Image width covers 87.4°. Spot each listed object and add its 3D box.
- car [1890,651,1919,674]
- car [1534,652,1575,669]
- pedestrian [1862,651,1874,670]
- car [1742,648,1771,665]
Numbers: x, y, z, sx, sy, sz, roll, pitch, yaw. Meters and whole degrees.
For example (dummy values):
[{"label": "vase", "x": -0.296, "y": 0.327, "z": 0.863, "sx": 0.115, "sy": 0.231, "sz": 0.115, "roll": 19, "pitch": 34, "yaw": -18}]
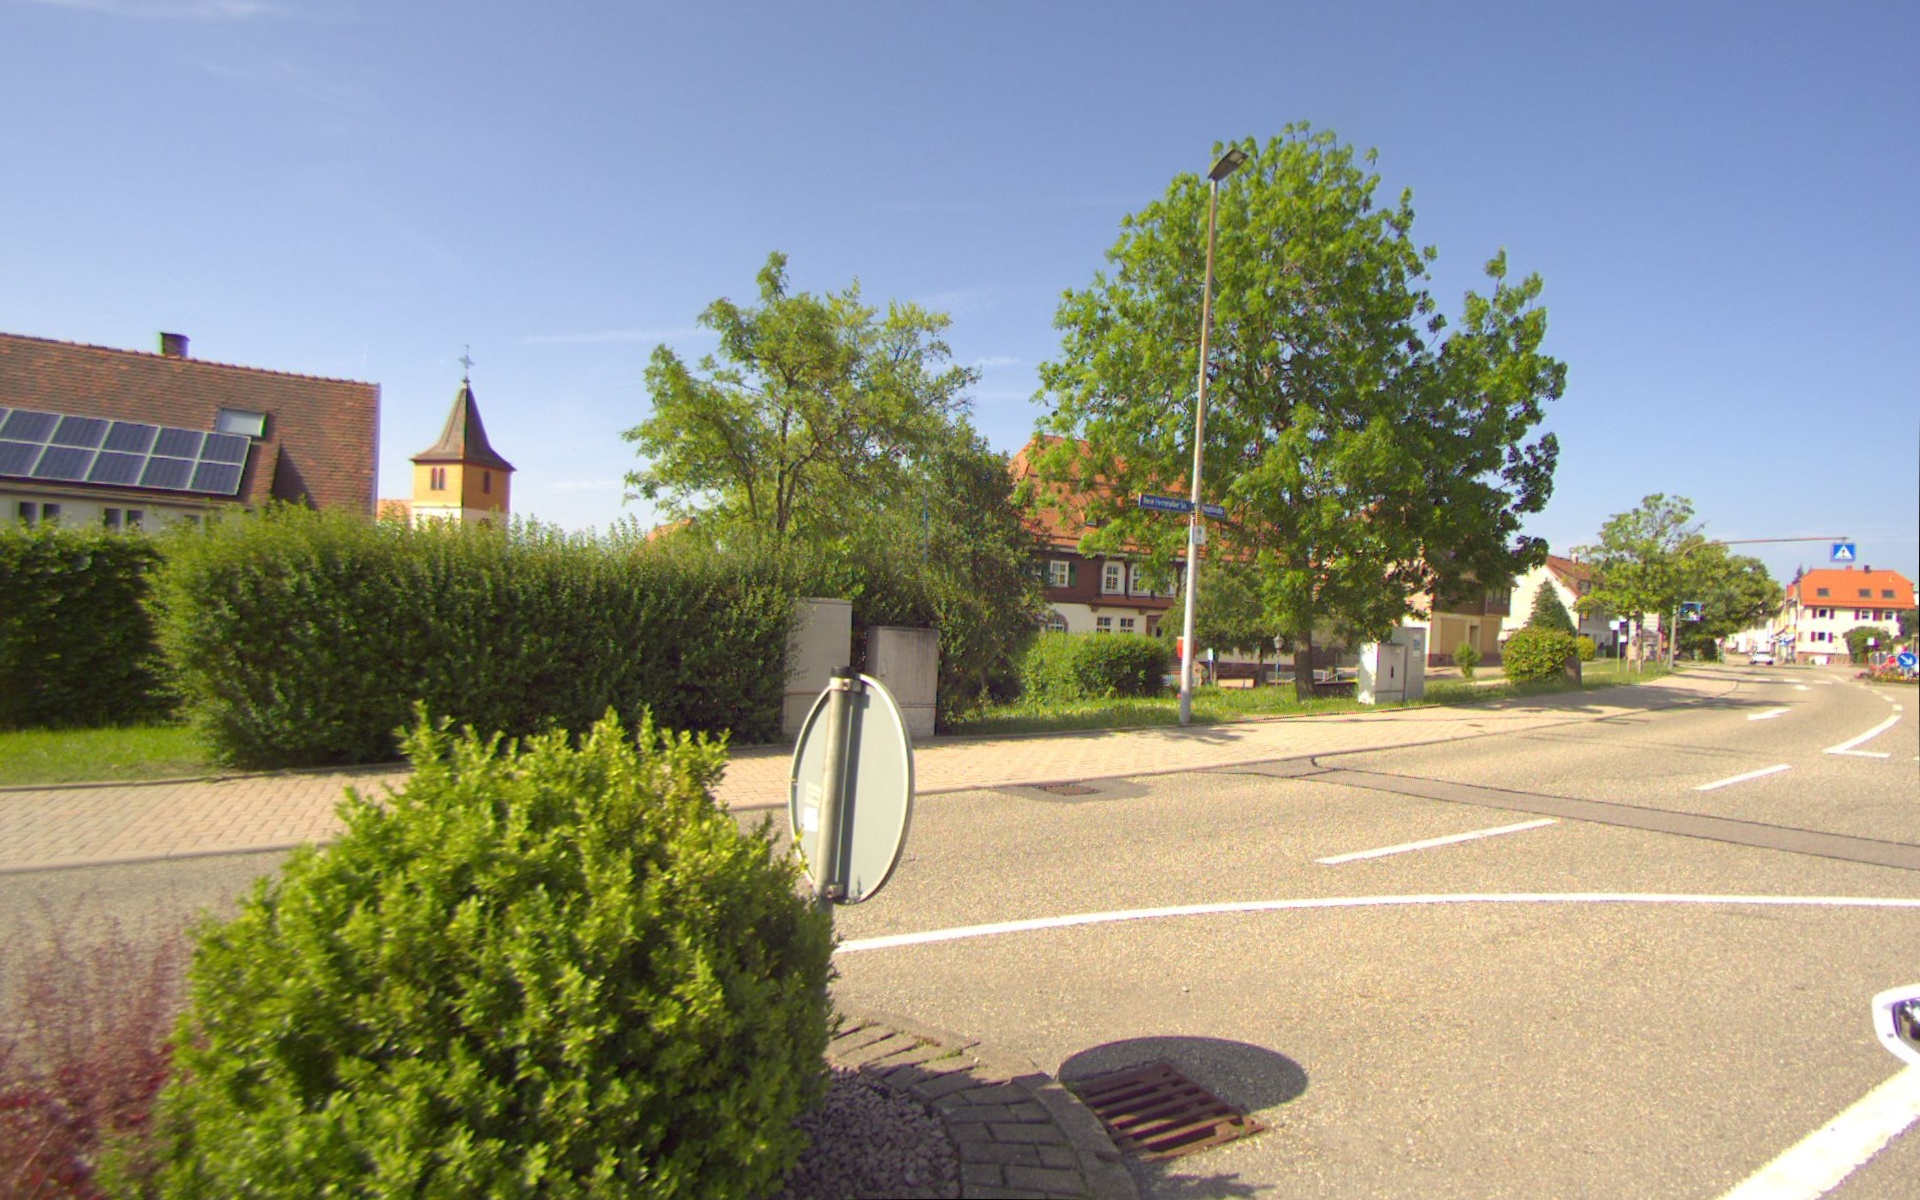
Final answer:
[{"label": "car", "x": 60.818, "y": 3.946, "z": 63.917, "sx": 1.612, "sy": 1.438, "sz": 3.927, "roll": -1, "pitch": -3, "yaw": 31}, {"label": "car", "x": 47.617, "y": 4.836, "z": 80.418, "sx": 3.969, "sy": 1.314, "sz": 1.706, "roll": 3, "pitch": -3, "yaw": -41}, {"label": "pedestrian", "x": 87.780, "y": 5.802, "z": 97.068, "sx": 0.790, "sy": 1.808, "sz": 0.975, "roll": 0, "pitch": -2, "yaw": 40}, {"label": "car", "x": 97.741, "y": 6.906, "z": 123.329, "sx": 2.463, "sy": 2.040, "sz": 4.291, "roll": -2, "pitch": -4, "yaw": 35}]
